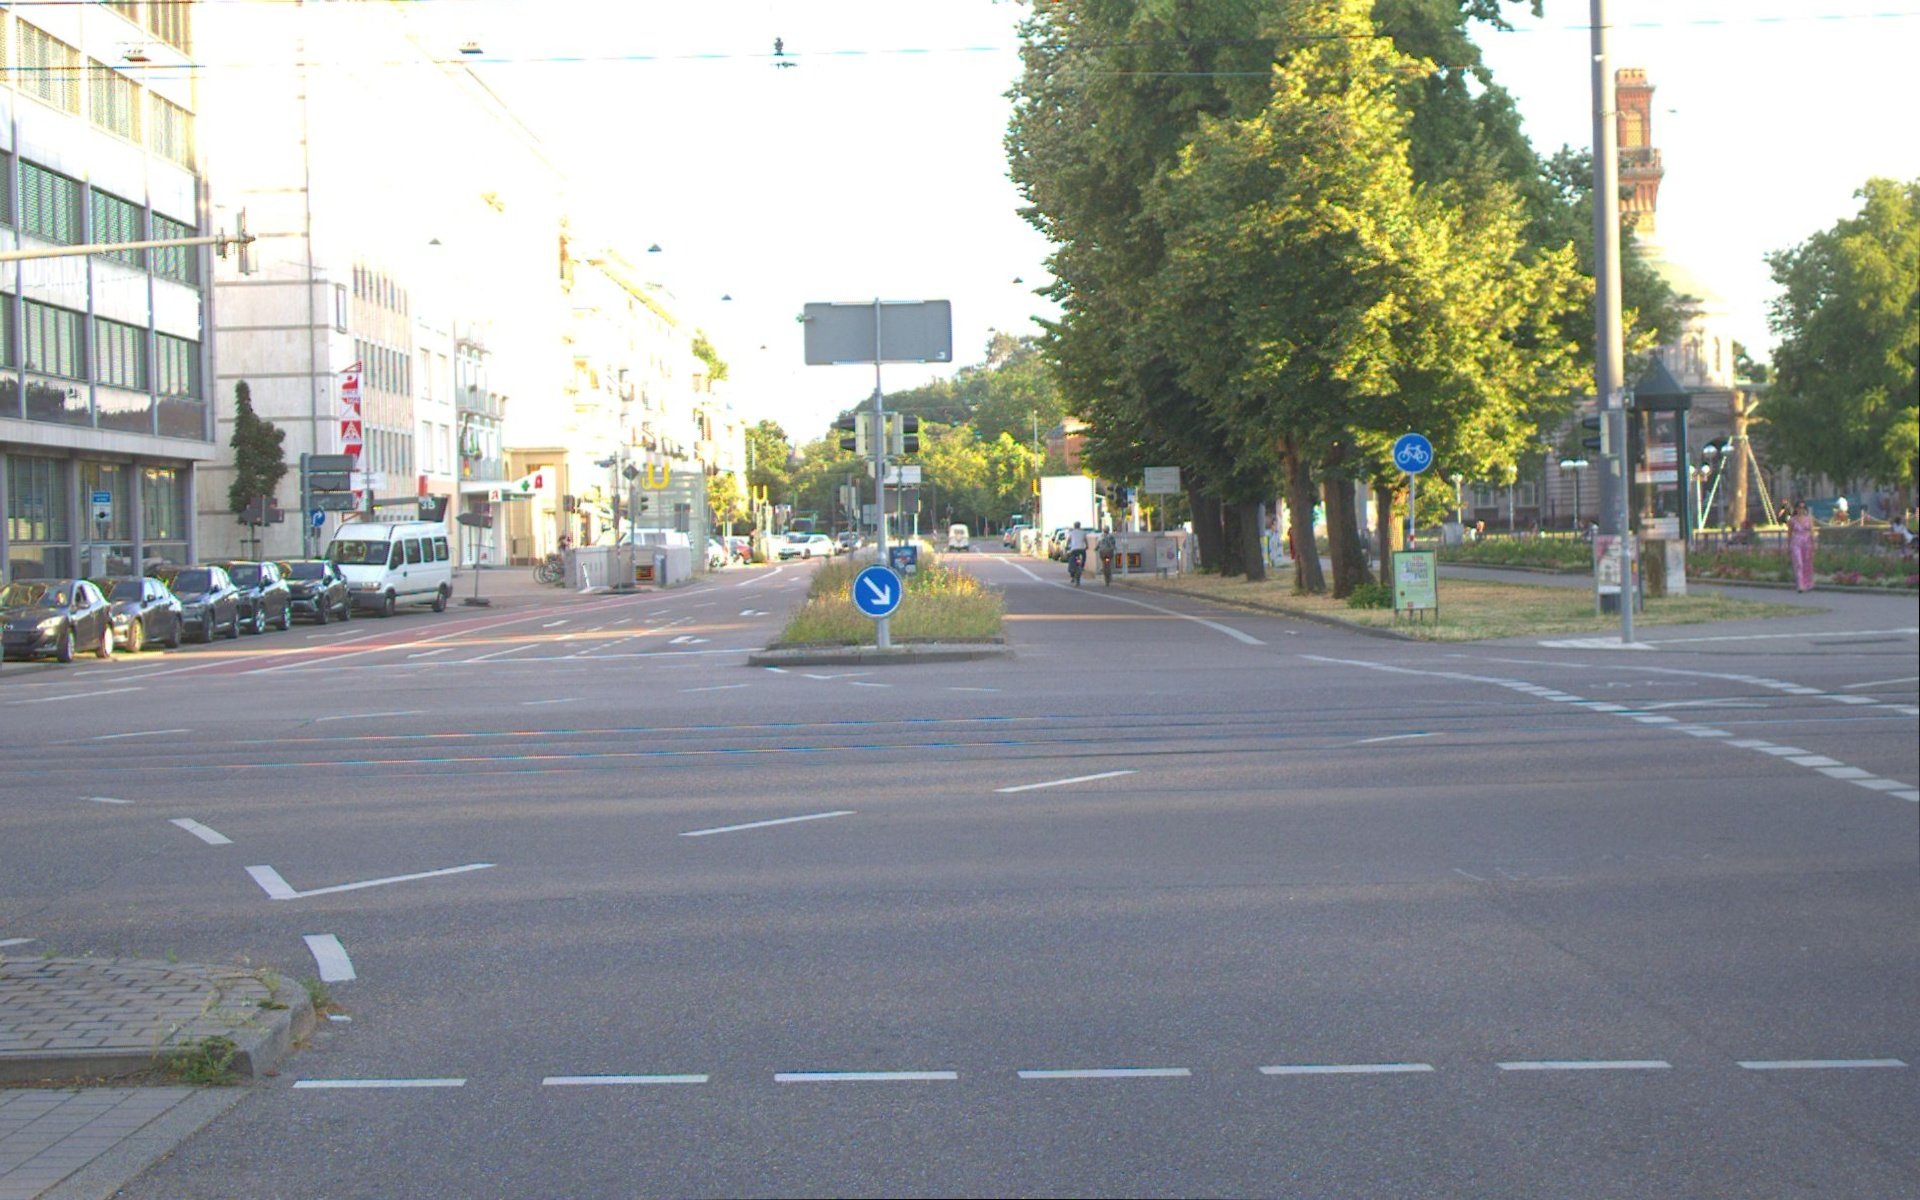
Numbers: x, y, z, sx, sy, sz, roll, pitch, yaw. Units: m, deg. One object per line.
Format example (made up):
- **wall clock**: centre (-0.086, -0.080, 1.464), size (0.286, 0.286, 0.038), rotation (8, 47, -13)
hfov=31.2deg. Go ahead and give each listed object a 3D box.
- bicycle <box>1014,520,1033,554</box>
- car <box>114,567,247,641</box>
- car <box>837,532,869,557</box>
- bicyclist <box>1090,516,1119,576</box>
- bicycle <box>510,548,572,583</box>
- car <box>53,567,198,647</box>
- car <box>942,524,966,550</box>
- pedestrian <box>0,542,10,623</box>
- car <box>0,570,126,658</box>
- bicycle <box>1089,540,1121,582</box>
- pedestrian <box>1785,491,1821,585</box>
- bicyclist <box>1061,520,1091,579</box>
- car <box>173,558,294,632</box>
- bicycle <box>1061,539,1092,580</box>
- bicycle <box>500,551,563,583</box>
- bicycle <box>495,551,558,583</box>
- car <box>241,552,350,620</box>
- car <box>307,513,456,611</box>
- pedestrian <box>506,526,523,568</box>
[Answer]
- **bicycle**: centre (3.862, -3.841, 208.285), size (1.002, 2.007, 4.000), rotation (-2, 1, 0)
- **car**: centre (-16.577, 0.062, 73.249), size (1.920, 1.459, 4.000), rotation (-2, 1, -1)
- **car**: centre (-6.811, -3.532, 219.014), size (1.863, 1.514, 4.000), rotation (-2, 1, 1)
- **bicyclist**: centre (4.085, -1.537, 97.428), size (0.746, 1.685, 0.799), rotation (-2, 1, -1)
- **bicycle**: centre (-15.707, -1.301, 128.887), size (2.205, 1.232, 0.839), rotation (-2, 1, -2)
- **car**: centre (-16.573, 0.111, 68.434), size (1.920, 1.459, 4.000), rotation (-2, 1, -1)
- **car**: centre (-0.395, -4.073, 223.500), size (1.408, 1.636, 4.000), rotation (-2, 1, -2)
- **pedestrian**: centre (-20.091, -0.351, 71.391), size (0.551, 1.673, 0.500), rotation (-2, 1, -1)
- **car**: centre (-16.484, 0.241, 61.938), size (1.920, 1.459, 4.103), rotation (-2, 1, -1)
- **bicycle**: centre (4.099, -1.115, 97.467), size (0.746, 1.140, 2.505), rotation (-2, 1, -1)
- **pedestrian**: centre (14.959, -1.108, 61.010), size (0.460, 1.651, 0.567), rotation (-1, 1, -1)
- **bicyclist**: centre (3.283, -1.431, 97.328), size (0.746, 1.658, 0.873), rotation (-2, 1, -1)
- **car**: centre (-16.555, -0.141, 78.550), size (1.920, 1.563, 4.000), rotation (-2, 1, -1)
- **bicycle**: centre (3.307, -1.156, 97.634), size (0.746, 1.140, 2.505), rotation (-2, 1, -1)
- **bicycle**: centre (-15.820, -1.219, 126.913), size (2.205, 1.108, 0.689), rotation (-2, 1, -2)
- **bicycle**: centre (-15.838, -1.211, 125.524), size (2.205, 1.108, 0.619), rotation (-2, 1, -2)
- **car**: centre (-16.357, -0.374, 84.777), size (1.920, 1.563, 4.000), rotation (-2, 1, -1)
- **car**: centre (-15.298, -1.044, 91.227), size (2.002, 2.469, 5.865), rotation (-1, 1, 10)
- **pedestrian**: centre (-21.333, -2.544, 164.724), size (0.680, 2.007, 0.545), rotation (-2, 1, 0)
